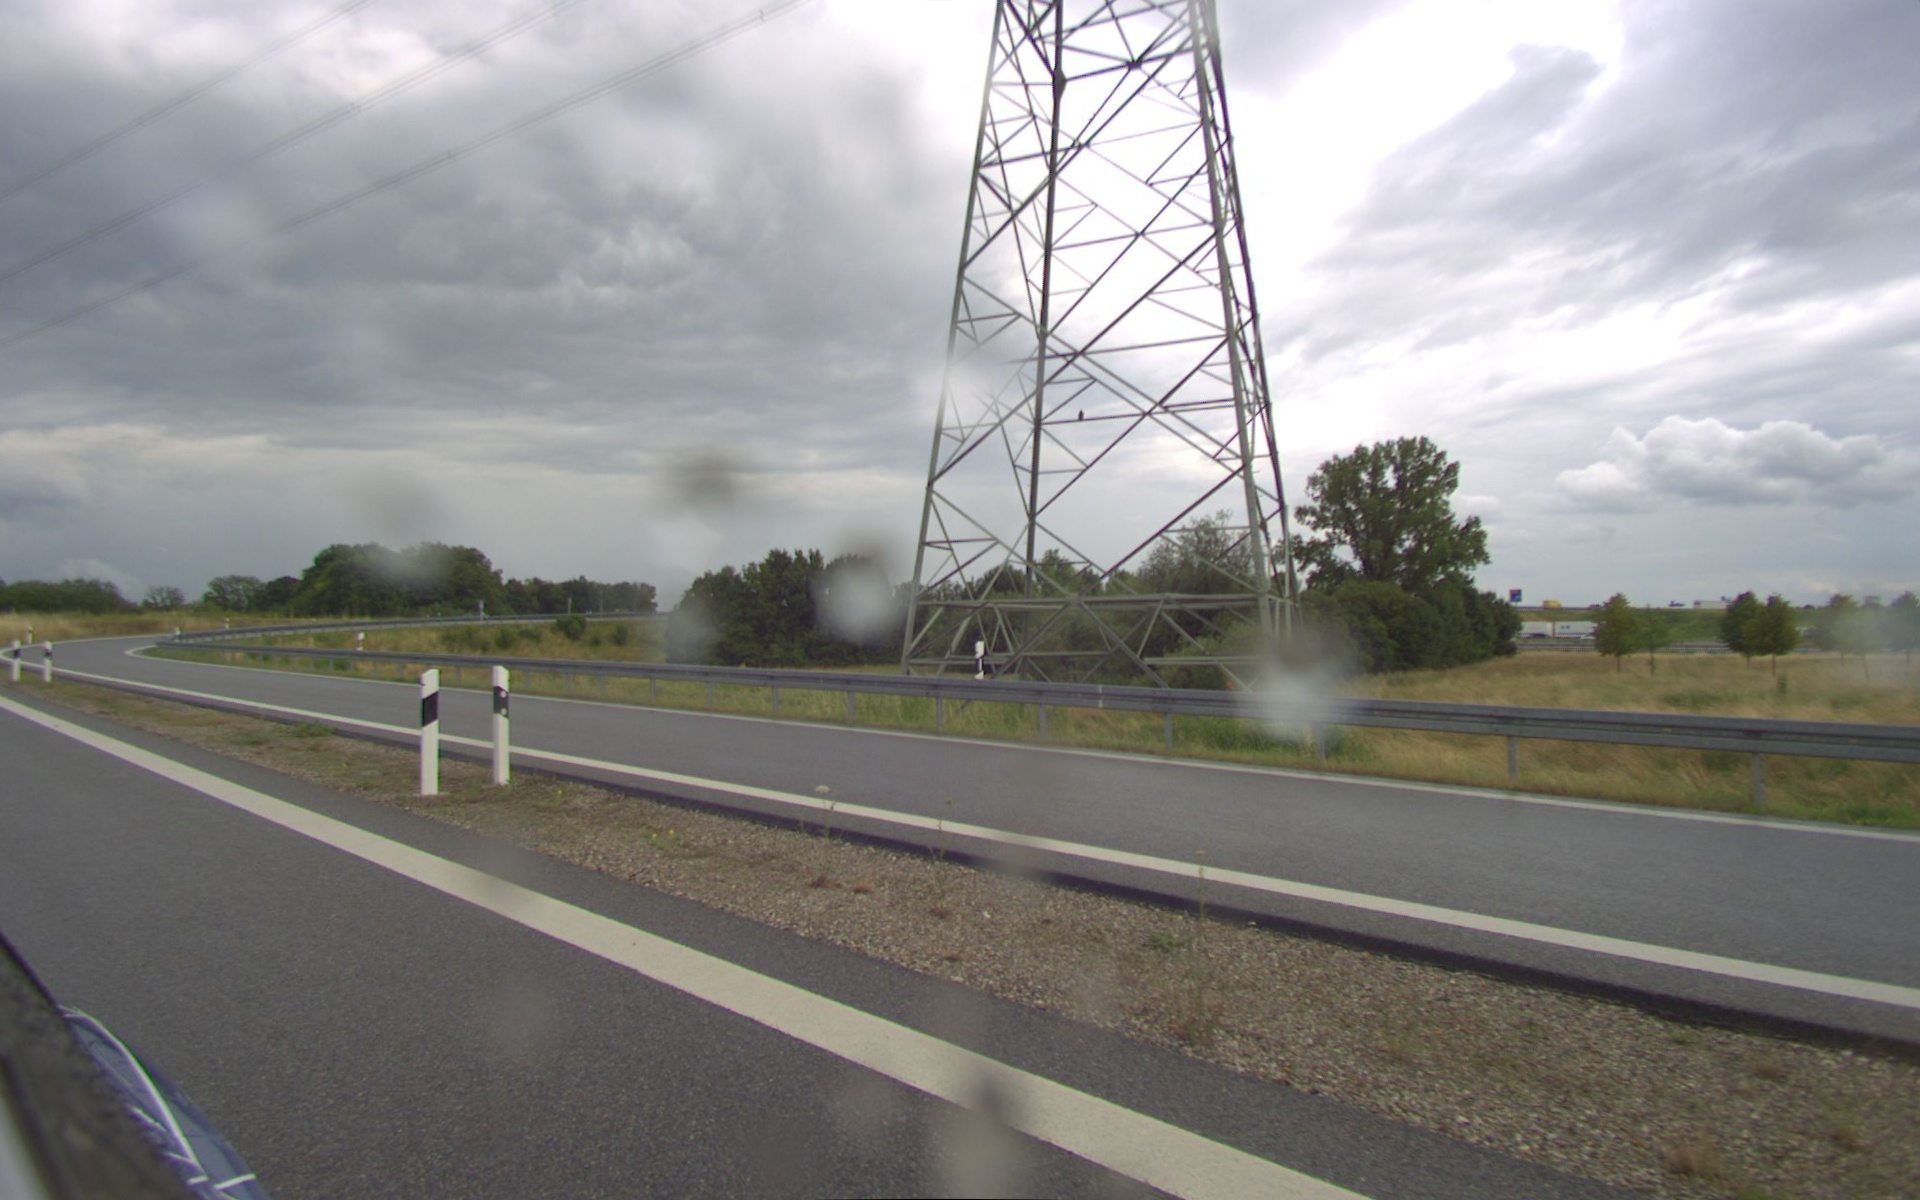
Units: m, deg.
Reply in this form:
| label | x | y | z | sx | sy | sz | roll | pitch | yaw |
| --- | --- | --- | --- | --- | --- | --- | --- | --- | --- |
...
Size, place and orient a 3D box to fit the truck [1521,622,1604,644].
| label | x | y | z | sx | sy | sz | roll | pitch | yaw |
| --- | --- | --- | --- | --- | --- | --- | --- | --- | --- |
| truck | 104.316 | 5.795 | 175.618 | 3.177 | 3.115 | 12.078 | 0 | -4 | -33 |
